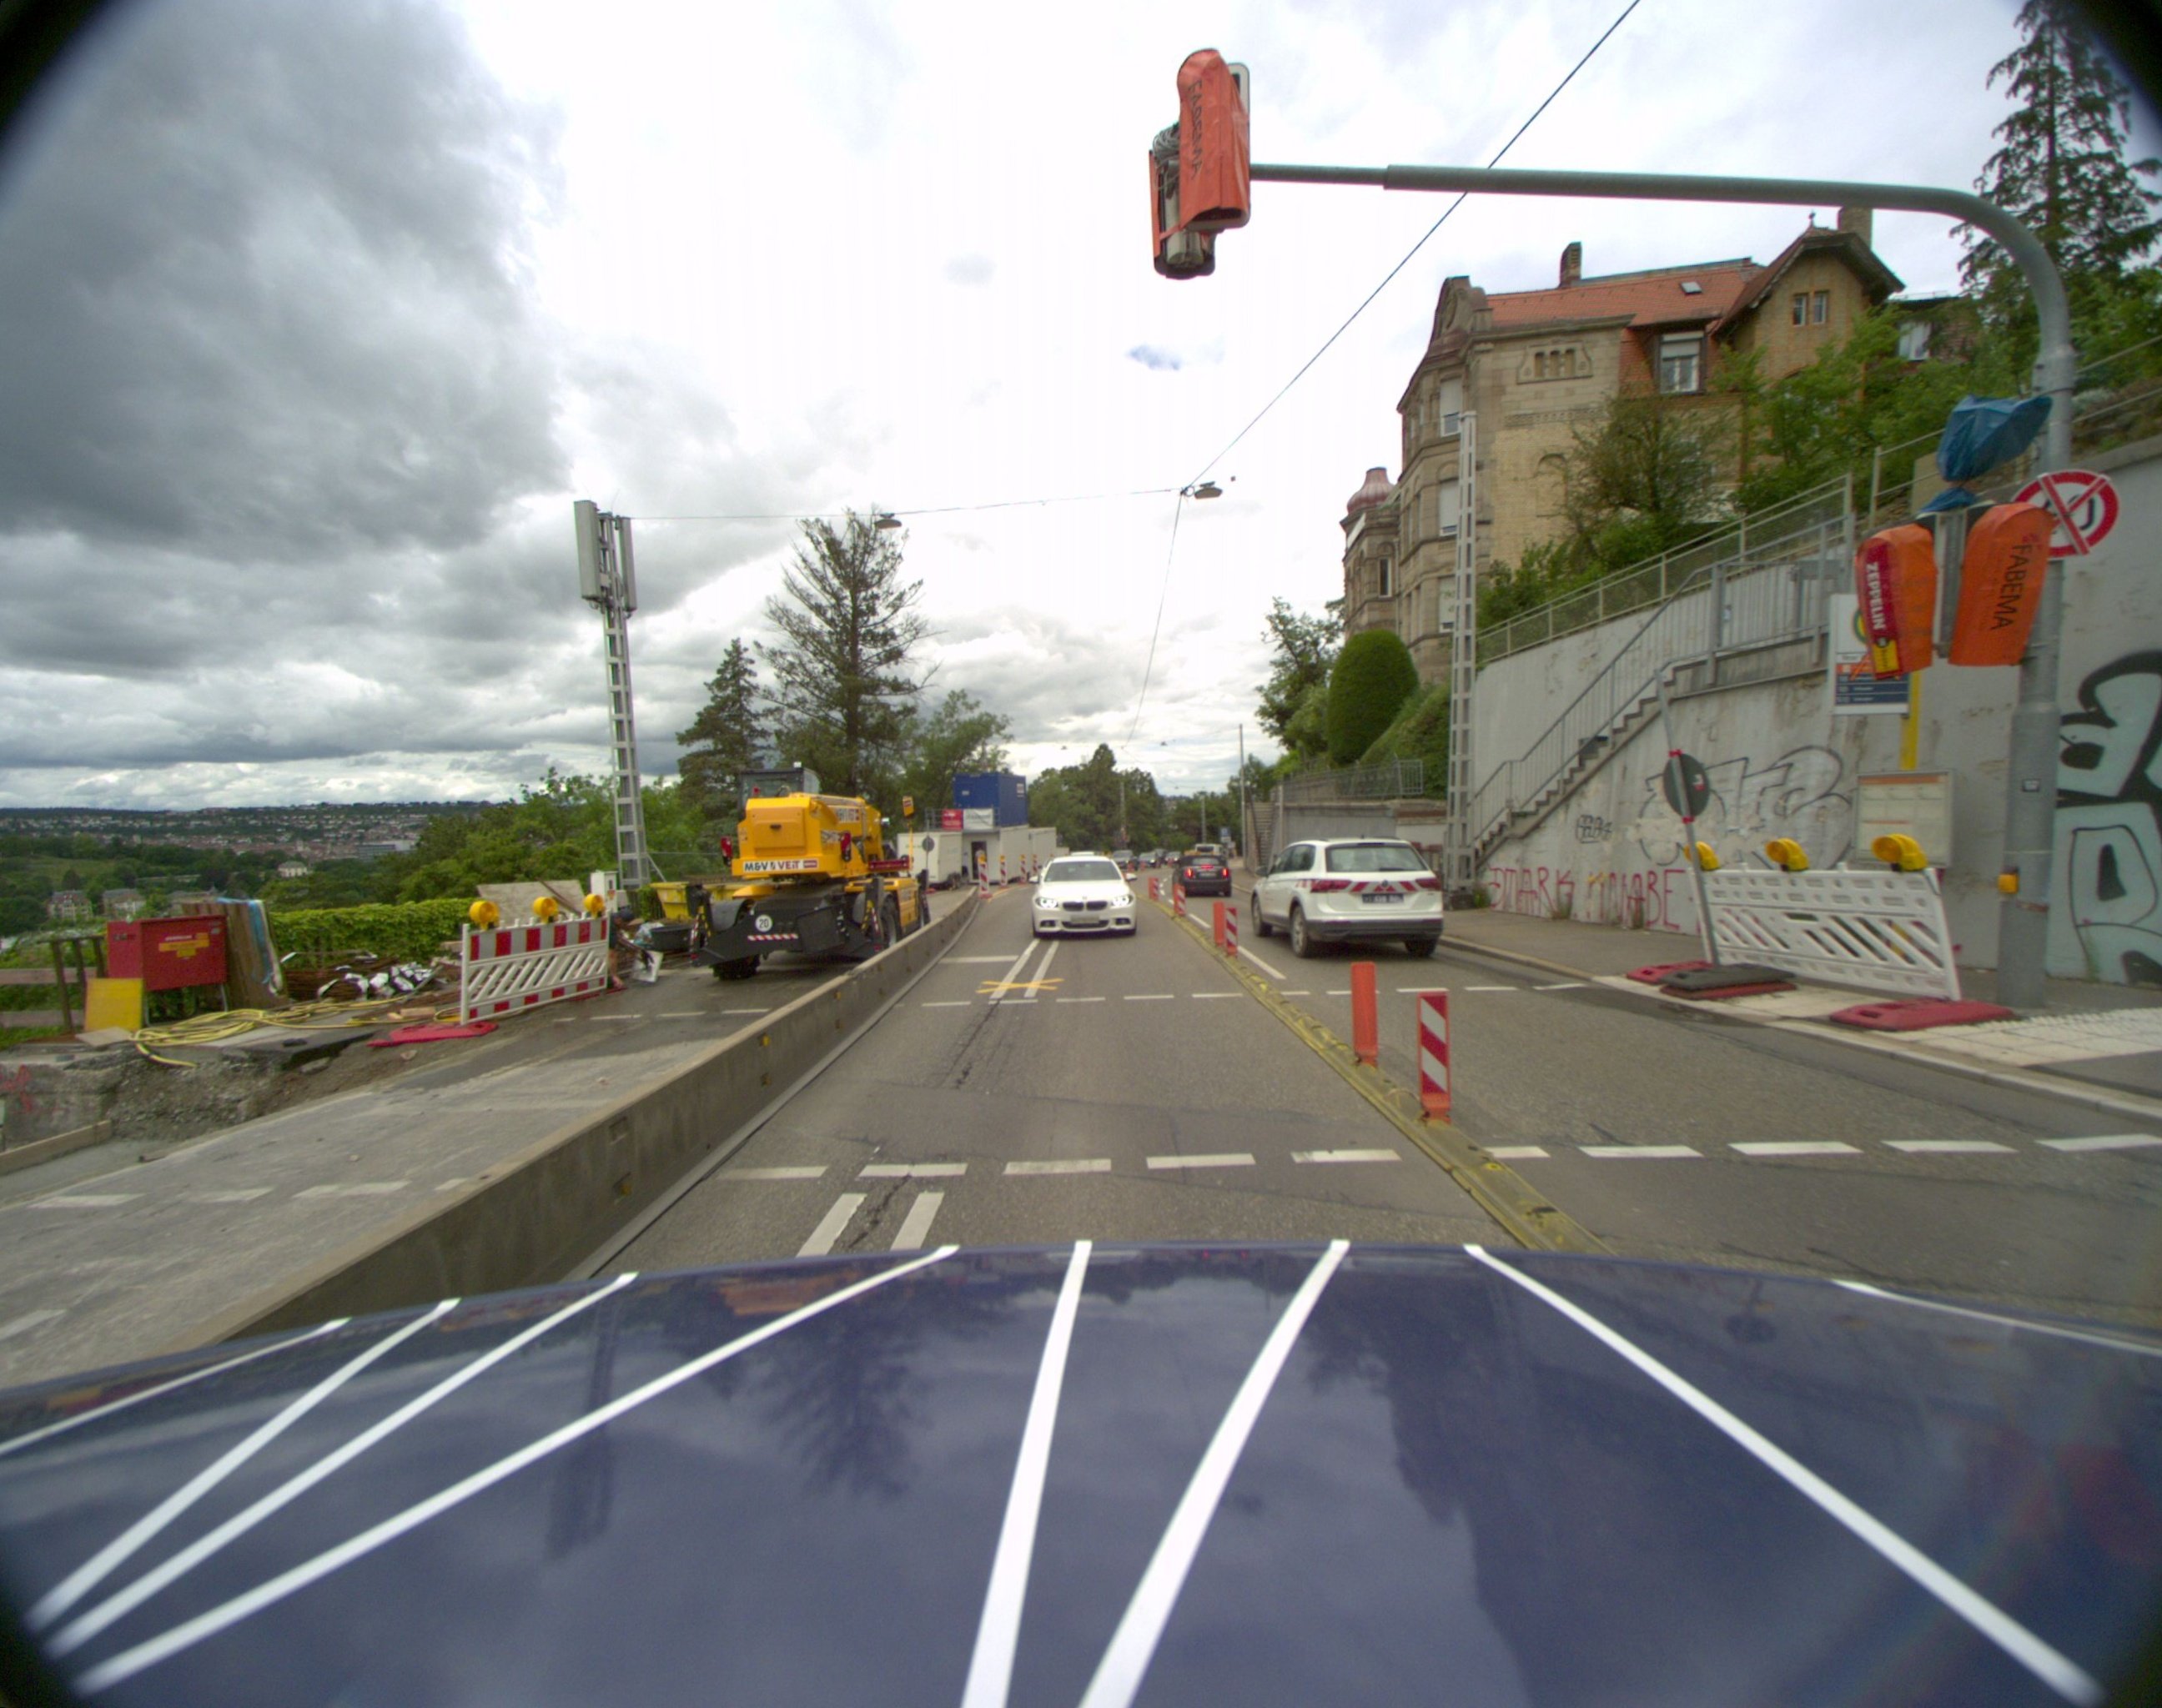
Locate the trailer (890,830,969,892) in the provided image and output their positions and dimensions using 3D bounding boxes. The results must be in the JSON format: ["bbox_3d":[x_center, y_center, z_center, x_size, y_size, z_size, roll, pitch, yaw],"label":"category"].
[{"bbox_3d":[-6.540,0.251,33.431,2.111,2.535,5.120,0,1,4],"label":"trailer"}]

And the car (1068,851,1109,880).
[{"bbox_3d":[0.482,0.618,43.536,1.791,1.542,4.247,-1,0,8],"label":"car"}]

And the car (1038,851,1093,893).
[{"bbox_3d":[-0.553,0.685,31.113,1.791,1.472,4.245,-3,0,4],"label":"car"}]

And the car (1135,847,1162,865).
[{"bbox_3d":[6.250,0.160,70.029,1.796,1.502,4.004,1,1,15],"label":"car"}]

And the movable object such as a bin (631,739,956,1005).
[{"bbox_3d":[-4.044,0.186,12.953,2.819,3.053,7.820,-3,0,-3],"label":"movable object such as a bin"}]

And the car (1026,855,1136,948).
[{"bbox_3d":[0.143,0.811,15.027,1.791,1.472,4.245,-3,0,4],"label":"car"}]

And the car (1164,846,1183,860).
[{"bbox_3d":[10.442,-0.102,85.513,1.797,1.502,4.003,1,1,12],"label":"car"}]

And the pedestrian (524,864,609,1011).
[{"bbox_3d":[-6.541,1.034,9.687,0.691,1.784,0.539,-2,0,-12],"label":"pedestrian"}]

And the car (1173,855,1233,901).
[{"bbox_3d":[4.176,0.780,26.483,1.675,1.422,3.587,0,1,3],"label":"car"}]

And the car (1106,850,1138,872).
[{"bbox_3d":[3.201,0.508,58.388,1.797,1.502,4.003,1,1,12],"label":"car"}]

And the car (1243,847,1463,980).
[{"bbox_3d":[3.805,0.723,11.506,1.846,1.590,4.263,-2,1,1],"label":"car"}]

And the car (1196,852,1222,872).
[{"bbox_3d":[9.677,0.541,57.384,1.802,1.365,4.391,1,1,9],"label":"car"}]

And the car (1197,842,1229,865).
[{"bbox_3d":[13.054,-0.023,75.073,2.069,2.175,4.970,1,0,22],"label":"car"}]

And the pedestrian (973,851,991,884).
[{"bbox_3d":[-5.114,0.712,39.294,0.651,1.652,0.648,-4,1,-33],"label":"pedestrian"}]
